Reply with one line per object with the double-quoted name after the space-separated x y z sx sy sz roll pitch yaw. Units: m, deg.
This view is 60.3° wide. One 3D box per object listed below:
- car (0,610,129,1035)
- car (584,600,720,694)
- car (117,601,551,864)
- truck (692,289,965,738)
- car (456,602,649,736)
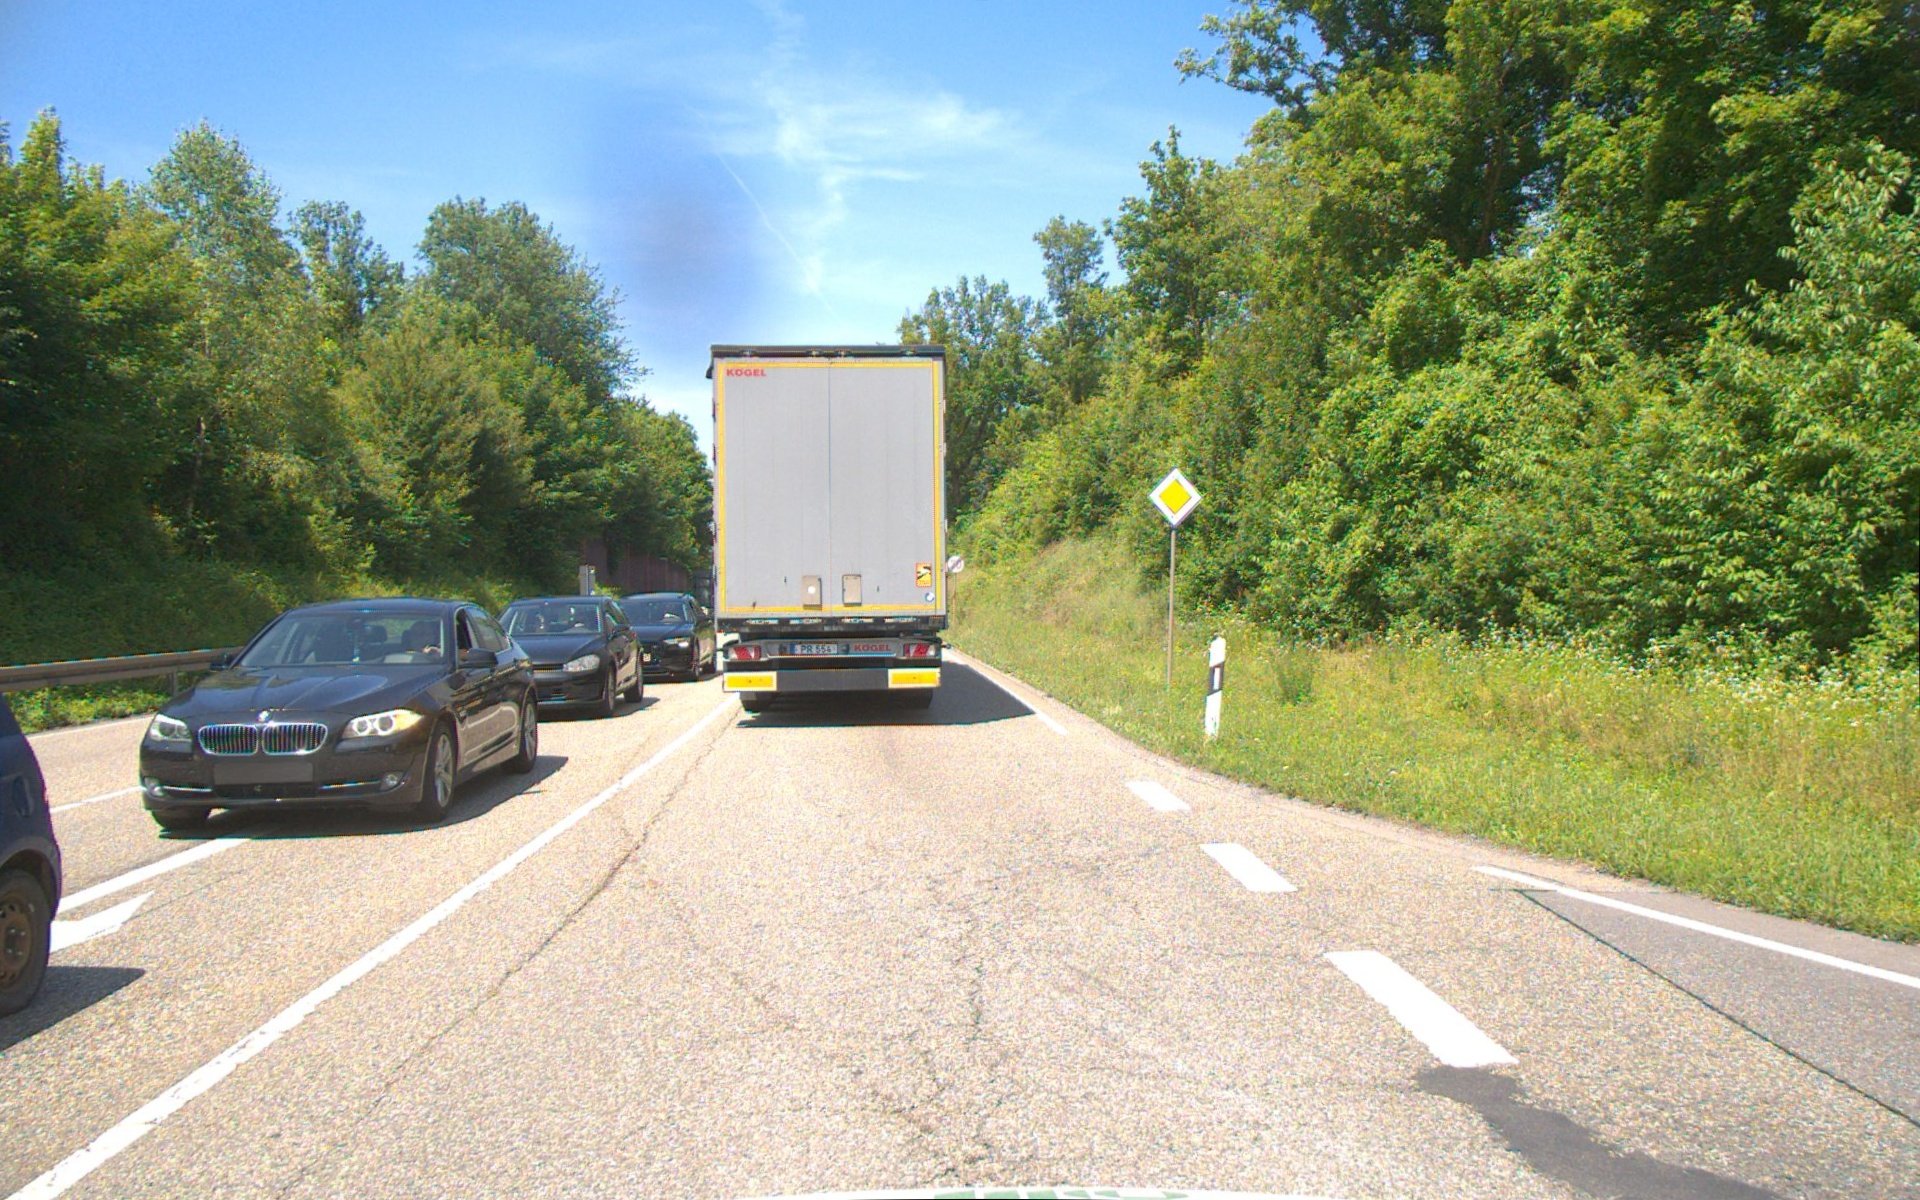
-4.086 0.812 4.813 1.535 1.465 3.768 -1 1 -3 "car"
-5.347 0.765 29.224 1.768 1.478 4.384 -1 0 -3 "car"
-4.331 0.795 12.282 1.746 1.472 4.636 -1 1 -4 "car"
-1.651 -0.967 20.810 2.767 4.684 6.659 -1 1 -5 "truck"
-4.985 0.780 20.744 1.649 1.439 4.178 -1 1 -4 "car"
